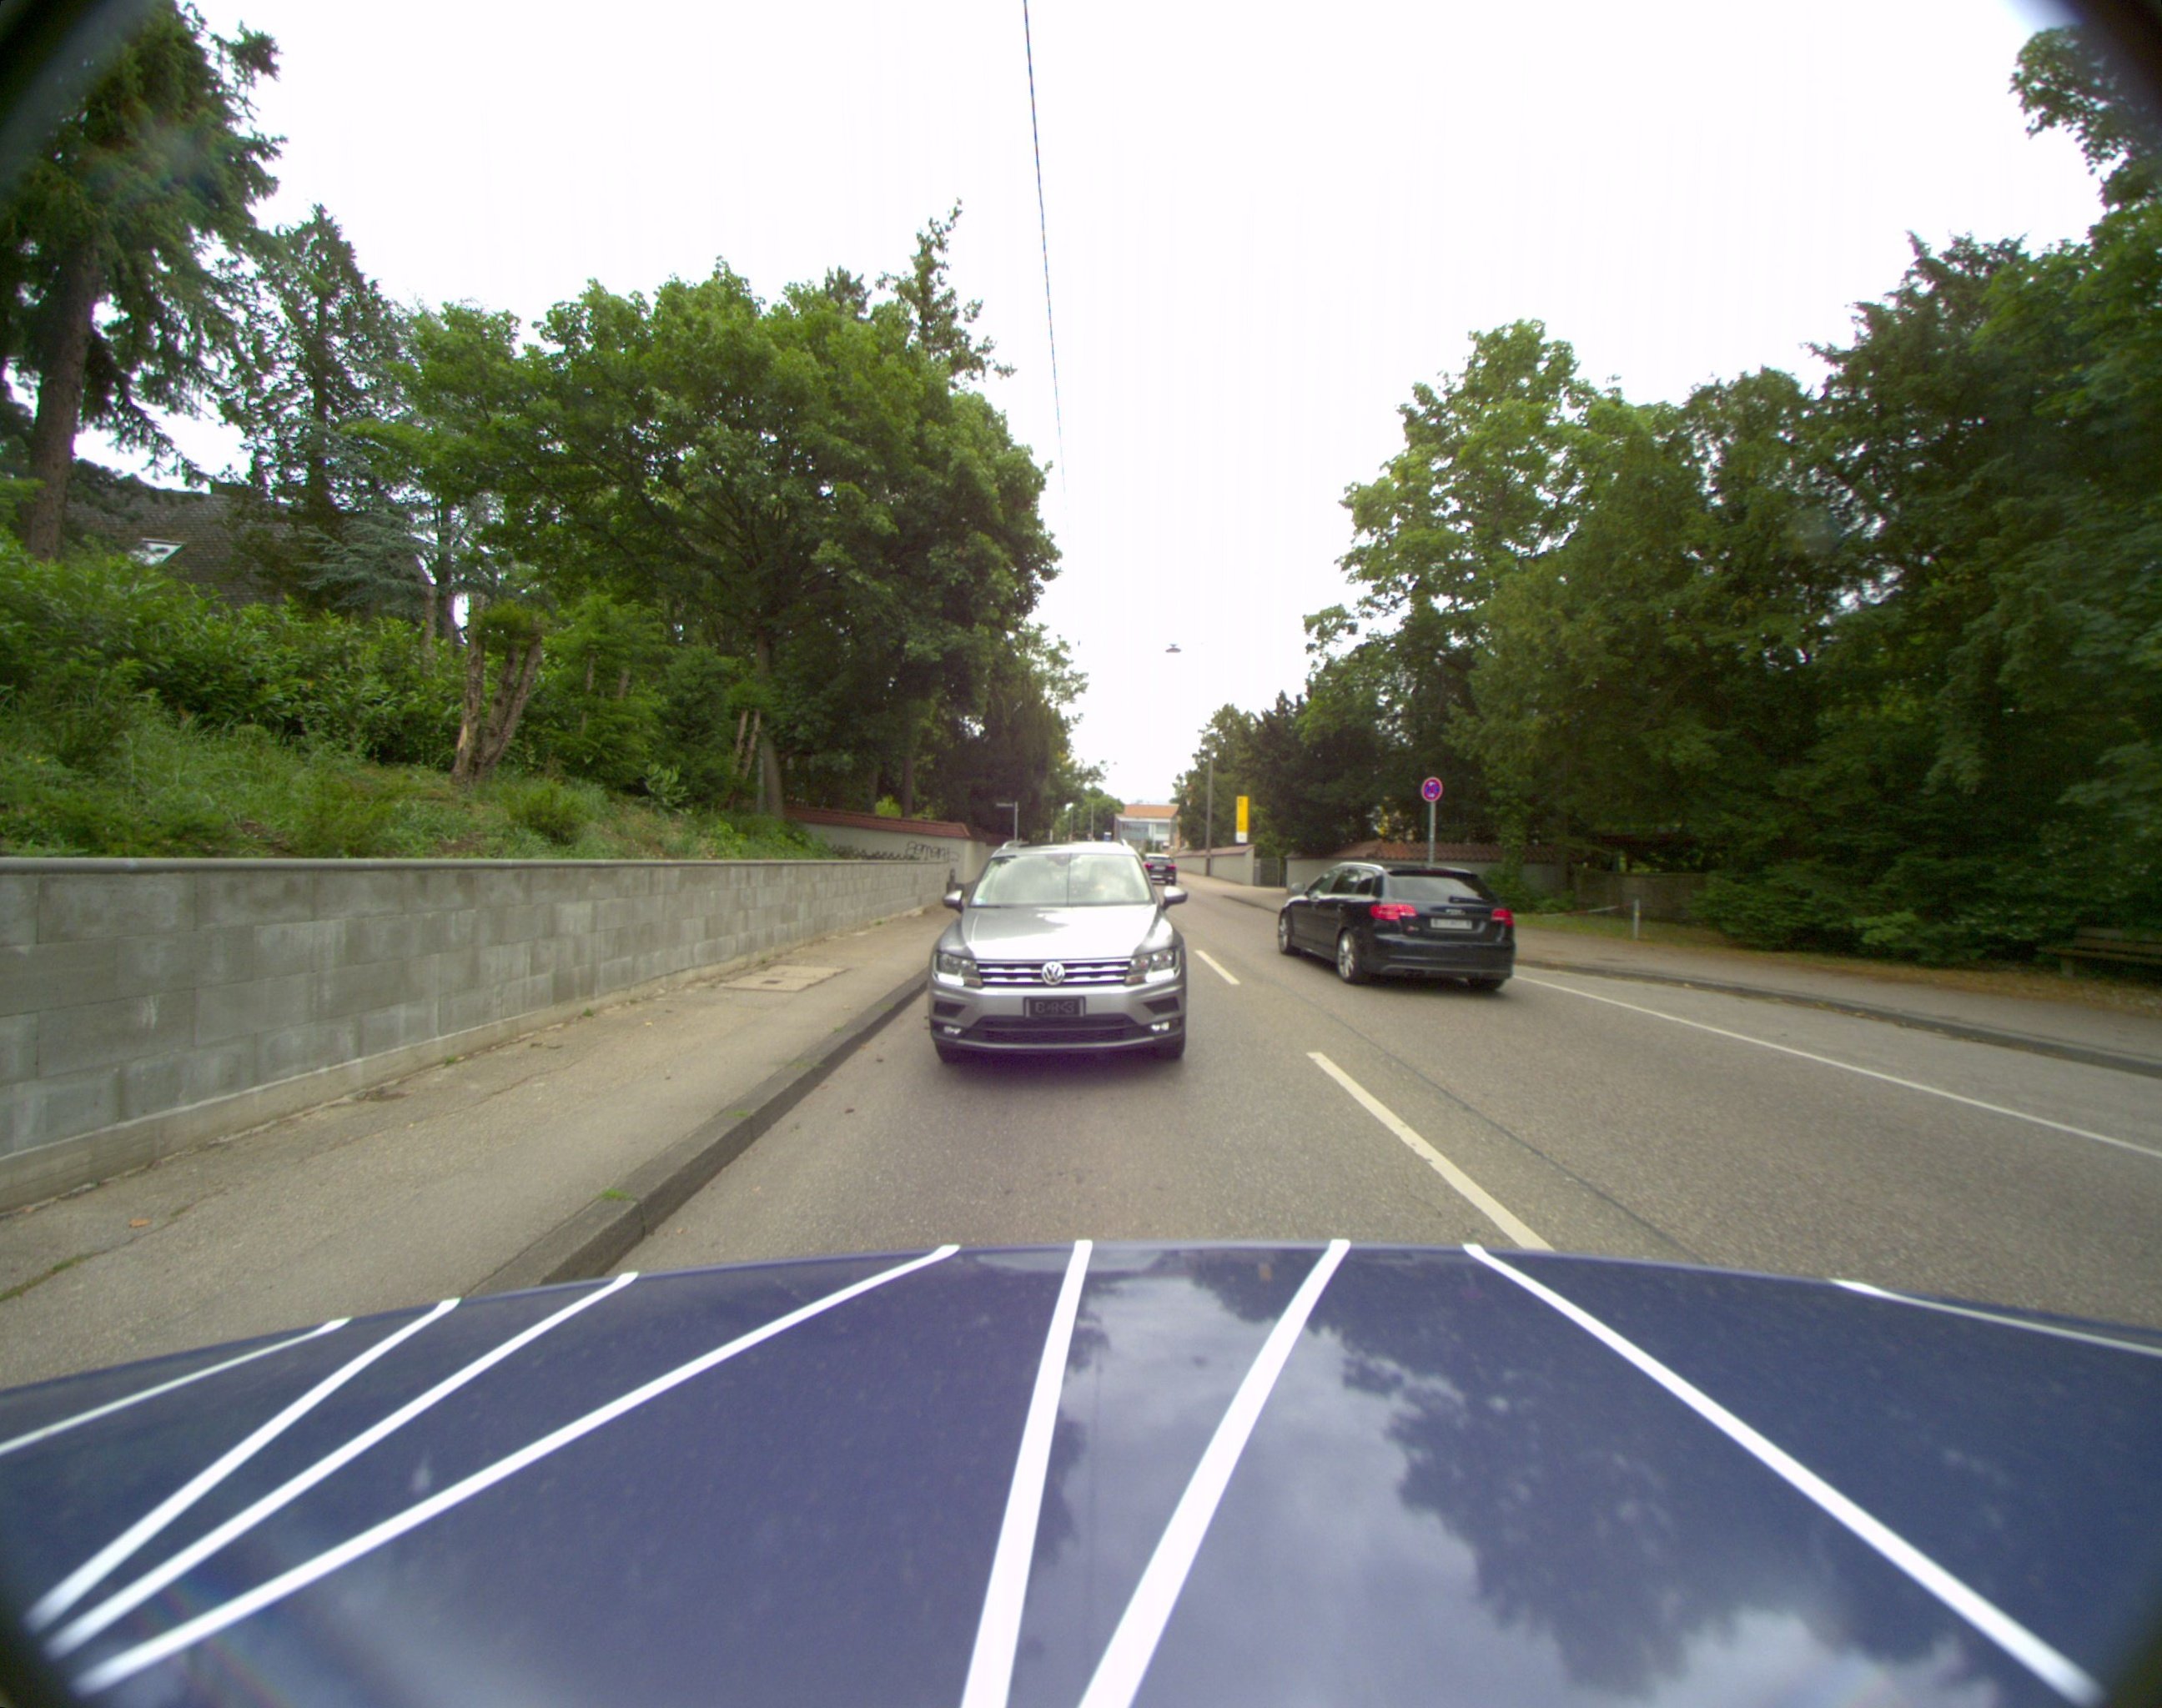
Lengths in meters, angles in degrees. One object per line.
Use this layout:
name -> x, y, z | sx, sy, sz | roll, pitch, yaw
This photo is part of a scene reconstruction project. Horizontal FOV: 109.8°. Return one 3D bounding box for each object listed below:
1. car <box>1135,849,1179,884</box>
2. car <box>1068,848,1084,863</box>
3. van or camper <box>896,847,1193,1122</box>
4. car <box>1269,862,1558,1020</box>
car -> 3.958, 0.627, 40.277 | 1.864, 1.648, 4.306 | 3, 0, 1
car -> -0.546, 0.201, 91.215 | 1.789, 1.644, 4.120 | 3, 0, 1
van or camper -> -0.199, 0.783, 6.716 | 1.800, 1.663, 4.198 | 0, 0, 1
car -> 3.849, 0.898, 9.705 | 1.864, 1.445, 4.110 | 3, 0, 1
